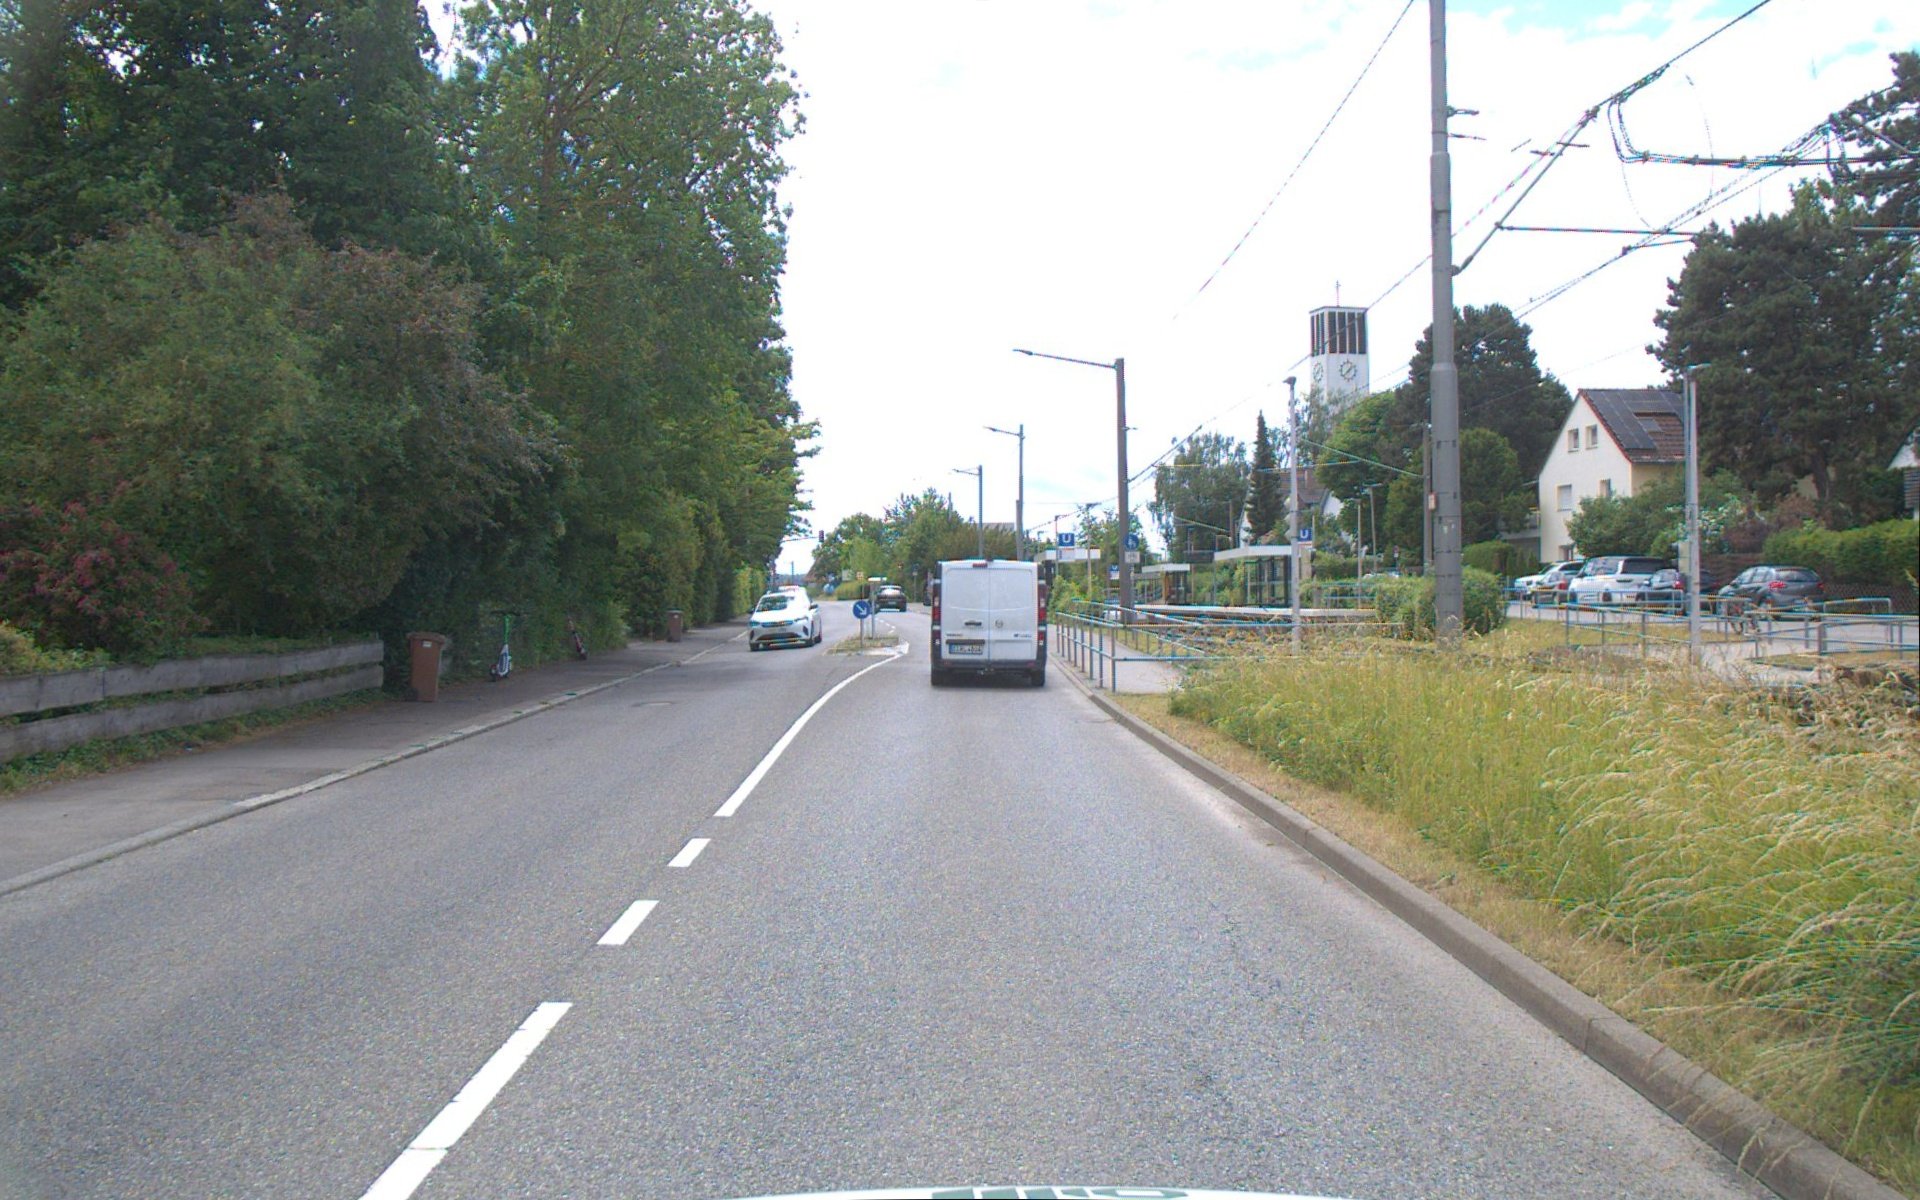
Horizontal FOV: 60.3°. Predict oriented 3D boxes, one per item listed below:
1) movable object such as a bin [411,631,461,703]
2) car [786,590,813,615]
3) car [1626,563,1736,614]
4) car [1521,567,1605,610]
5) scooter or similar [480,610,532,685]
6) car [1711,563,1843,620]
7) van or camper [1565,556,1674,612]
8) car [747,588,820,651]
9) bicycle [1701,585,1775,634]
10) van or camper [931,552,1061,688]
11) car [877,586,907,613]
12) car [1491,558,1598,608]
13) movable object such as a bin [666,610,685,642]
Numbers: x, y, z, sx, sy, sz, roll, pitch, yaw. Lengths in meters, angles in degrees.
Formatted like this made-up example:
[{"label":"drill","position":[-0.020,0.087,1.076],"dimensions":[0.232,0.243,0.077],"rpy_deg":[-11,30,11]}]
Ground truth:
[{"label":"movable object such as a bin","position":[-7.215,0.918,22.775],"dimensions":[0.503,0.961,0.568],"rpy_deg":[0,0,-1]},{"label":"car","position":[-11.258,0.137,115.786],"dimensions":[1.728,1.654,4.180],"rpy_deg":[-2,1,-6]},{"label":"car","position":[23.121,-0.374,53.220],"dimensions":[1.844,1.548,4.001],"rpy_deg":[-1,0,1]},{"label":"car","position":[23.242,-0.435,63.881],"dimensions":[1.844,1.548,4.001],"rpy_deg":[-1,0,1]},{"label":"scooter or similar","position":[-7.742,0.795,28.257],"dimensions":[0.400,1.220,1.639],"rpy_deg":[-1,0,1]},{"label":"car","position":[23.129,-0.237,46.986],"dimensions":[1.844,1.548,4.001],"rpy_deg":[-1,0,1]},{"label":"van or camper","position":[23.058,-0.548,58.041],"dimensions":[1.866,1.858,5.048],"rpy_deg":[-1,0,1]},{"label":"car","position":[-4.699,0.502,44.403],"dimensions":[1.660,1.455,3.784],"rpy_deg":[-5,0,-3]},{"label":"bicycle","position":[17.628,0.203,37.537],"dimensions":[0.527,1.064,2.540],"rpy_deg":[-1,0,1]},{"label":"van or camper","position":[0.568,0.312,27.371],"dimensions":[1.952,2.049,4.446],"rpy_deg":[1,0,1]},{"label":"car","position":[-4.313,-0.033,104.497],"dimensions":[1.816,1.677,3.731],"rpy_deg":[-1,0,-4]},{"label":"car","position":[26.983,-0.782,76.380],"dimensions":[4.244,1.977,1.744],"rpy_deg":[-4,0,-6]},{"label":"movable object such as a bin","position":[-8.633,0.776,50.171],"dimensions":[0.455,0.946,0.428],"rpy_deg":[3,-1,-17]}]
